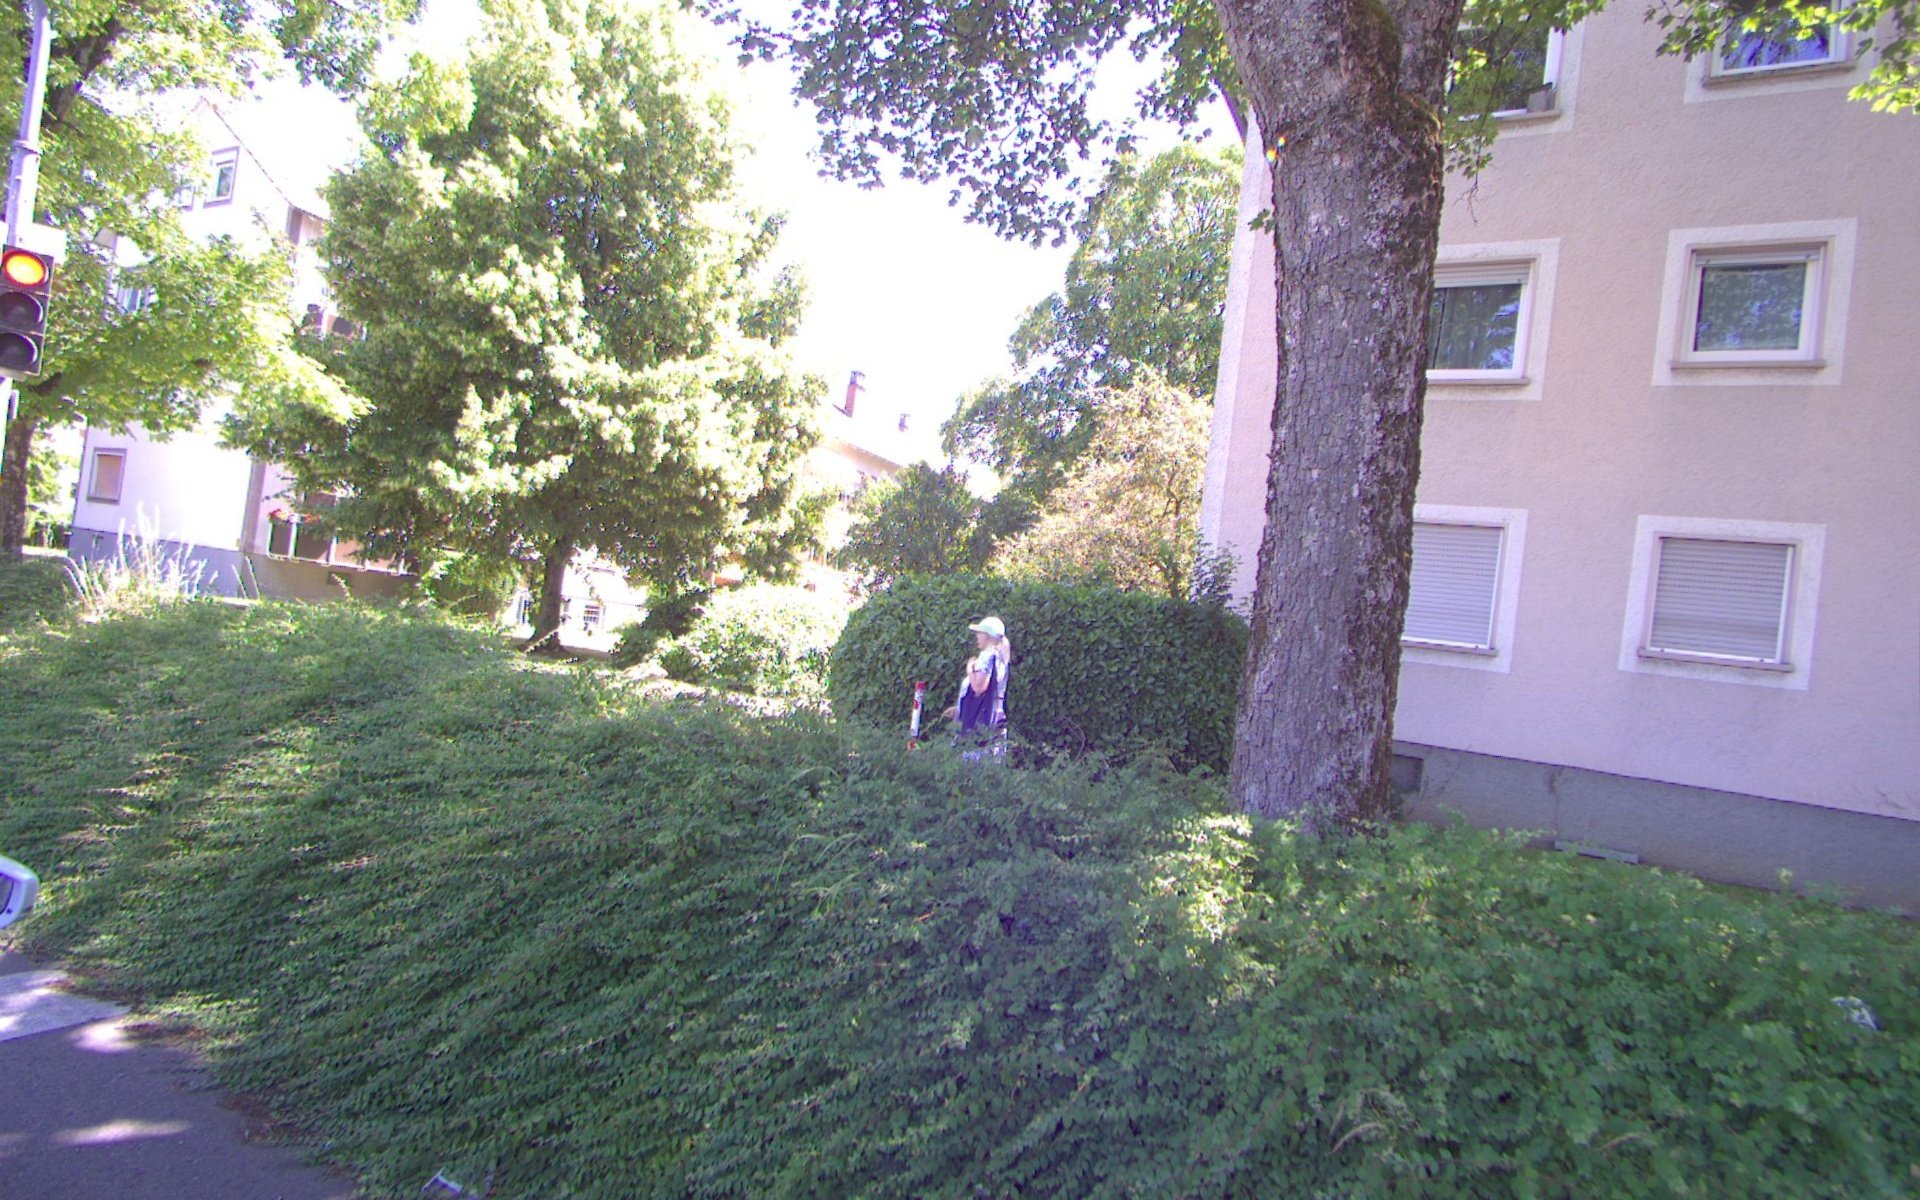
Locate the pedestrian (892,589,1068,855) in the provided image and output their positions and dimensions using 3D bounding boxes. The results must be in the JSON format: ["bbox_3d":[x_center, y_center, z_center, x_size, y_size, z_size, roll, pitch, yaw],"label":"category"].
[{"bbox_3d":[0.153,0.815,7.019,0.836,1.653,0.720,7,0,23],"label":"pedestrian"}]
